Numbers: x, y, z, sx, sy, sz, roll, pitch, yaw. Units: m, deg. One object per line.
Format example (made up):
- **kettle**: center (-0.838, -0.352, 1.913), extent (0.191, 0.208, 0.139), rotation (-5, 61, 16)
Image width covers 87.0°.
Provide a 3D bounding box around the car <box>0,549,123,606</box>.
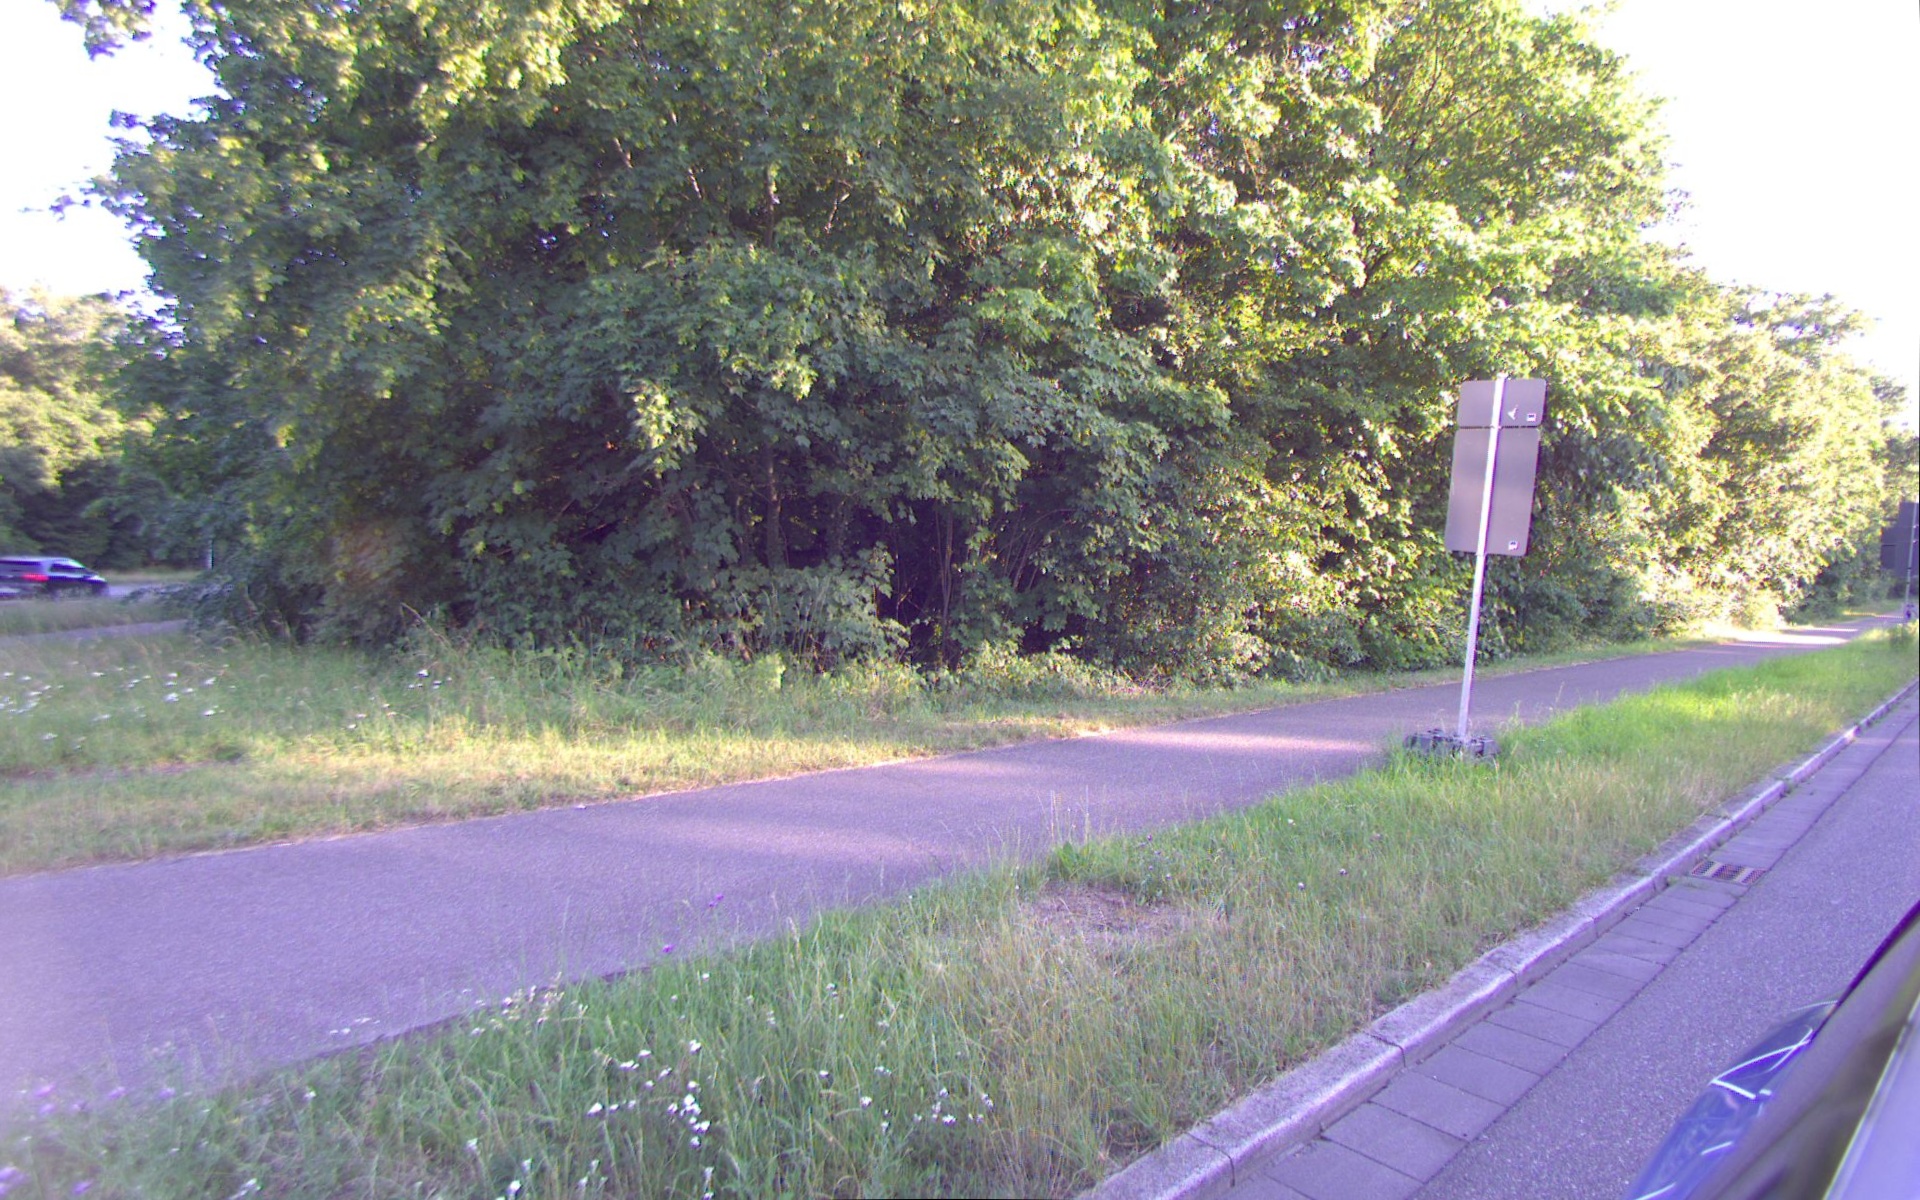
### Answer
- **car**: center (-27.003, -0.691, 29.805), extent (1.958, 1.549, 4.689), rotation (0, 1, -17)
